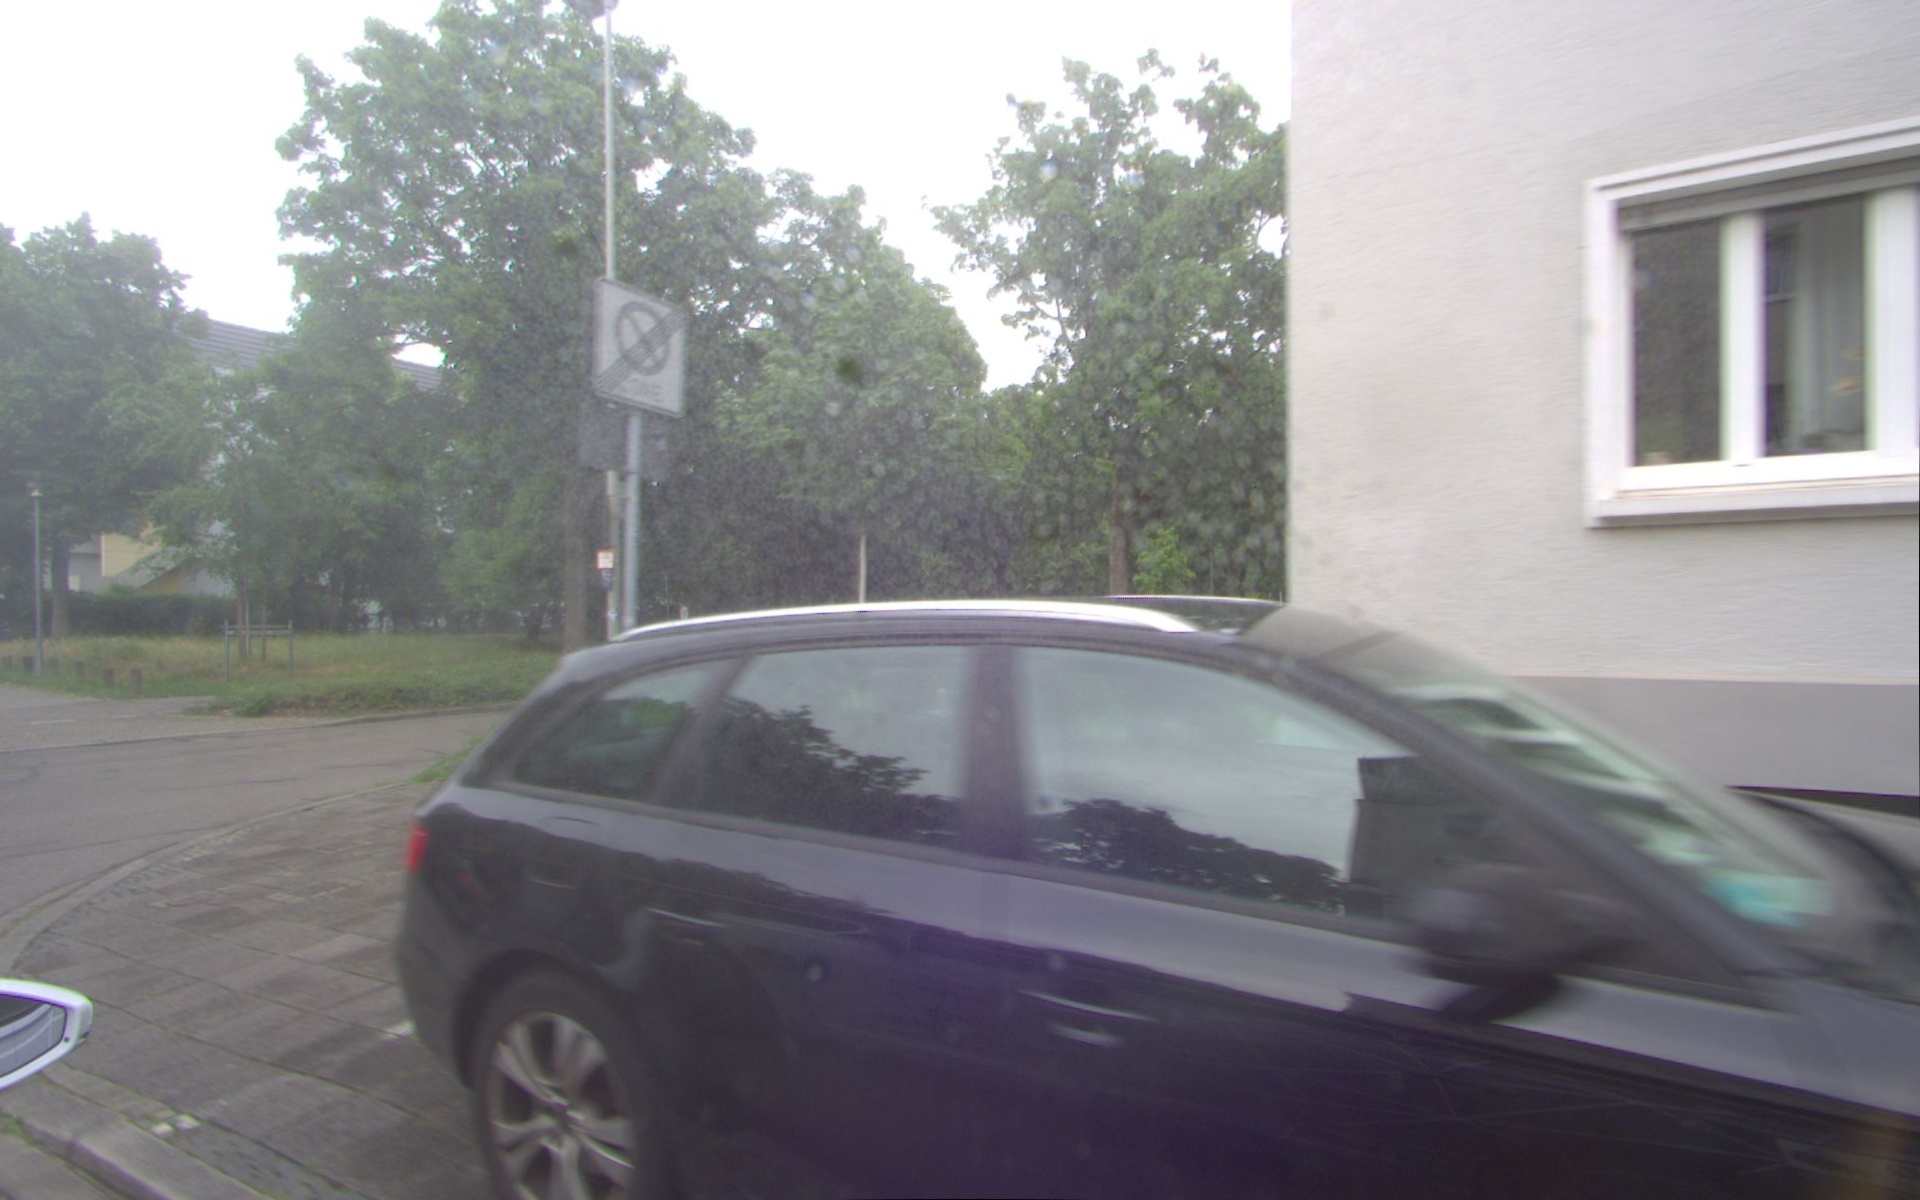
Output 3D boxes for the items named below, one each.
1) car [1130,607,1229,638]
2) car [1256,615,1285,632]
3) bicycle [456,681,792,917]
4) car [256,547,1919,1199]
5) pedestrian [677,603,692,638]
[{"bbox_3d":[10.897,1.108,49.900,4.453,1.505,1.999,0,0,-6],"label":"car"},{"bbox_3d":[37.318,2.859,120.286,3.257,1.949,1.808,-1,-2,21],"label":"car"},{"bbox_3d":[-1.795,0.955,5.235,1.862,1.017,0.566,-3,0,32],"label":"bicycle"},{"bbox_3d":[0.715,0.695,2.159,4.654,1.482,1.858,-1,0,30],"label":"car"},{"bbox_3d":[-14.296,1.060,51.926,0.537,1.822,0.568,1,0,41],"label":"pedestrian"}]
